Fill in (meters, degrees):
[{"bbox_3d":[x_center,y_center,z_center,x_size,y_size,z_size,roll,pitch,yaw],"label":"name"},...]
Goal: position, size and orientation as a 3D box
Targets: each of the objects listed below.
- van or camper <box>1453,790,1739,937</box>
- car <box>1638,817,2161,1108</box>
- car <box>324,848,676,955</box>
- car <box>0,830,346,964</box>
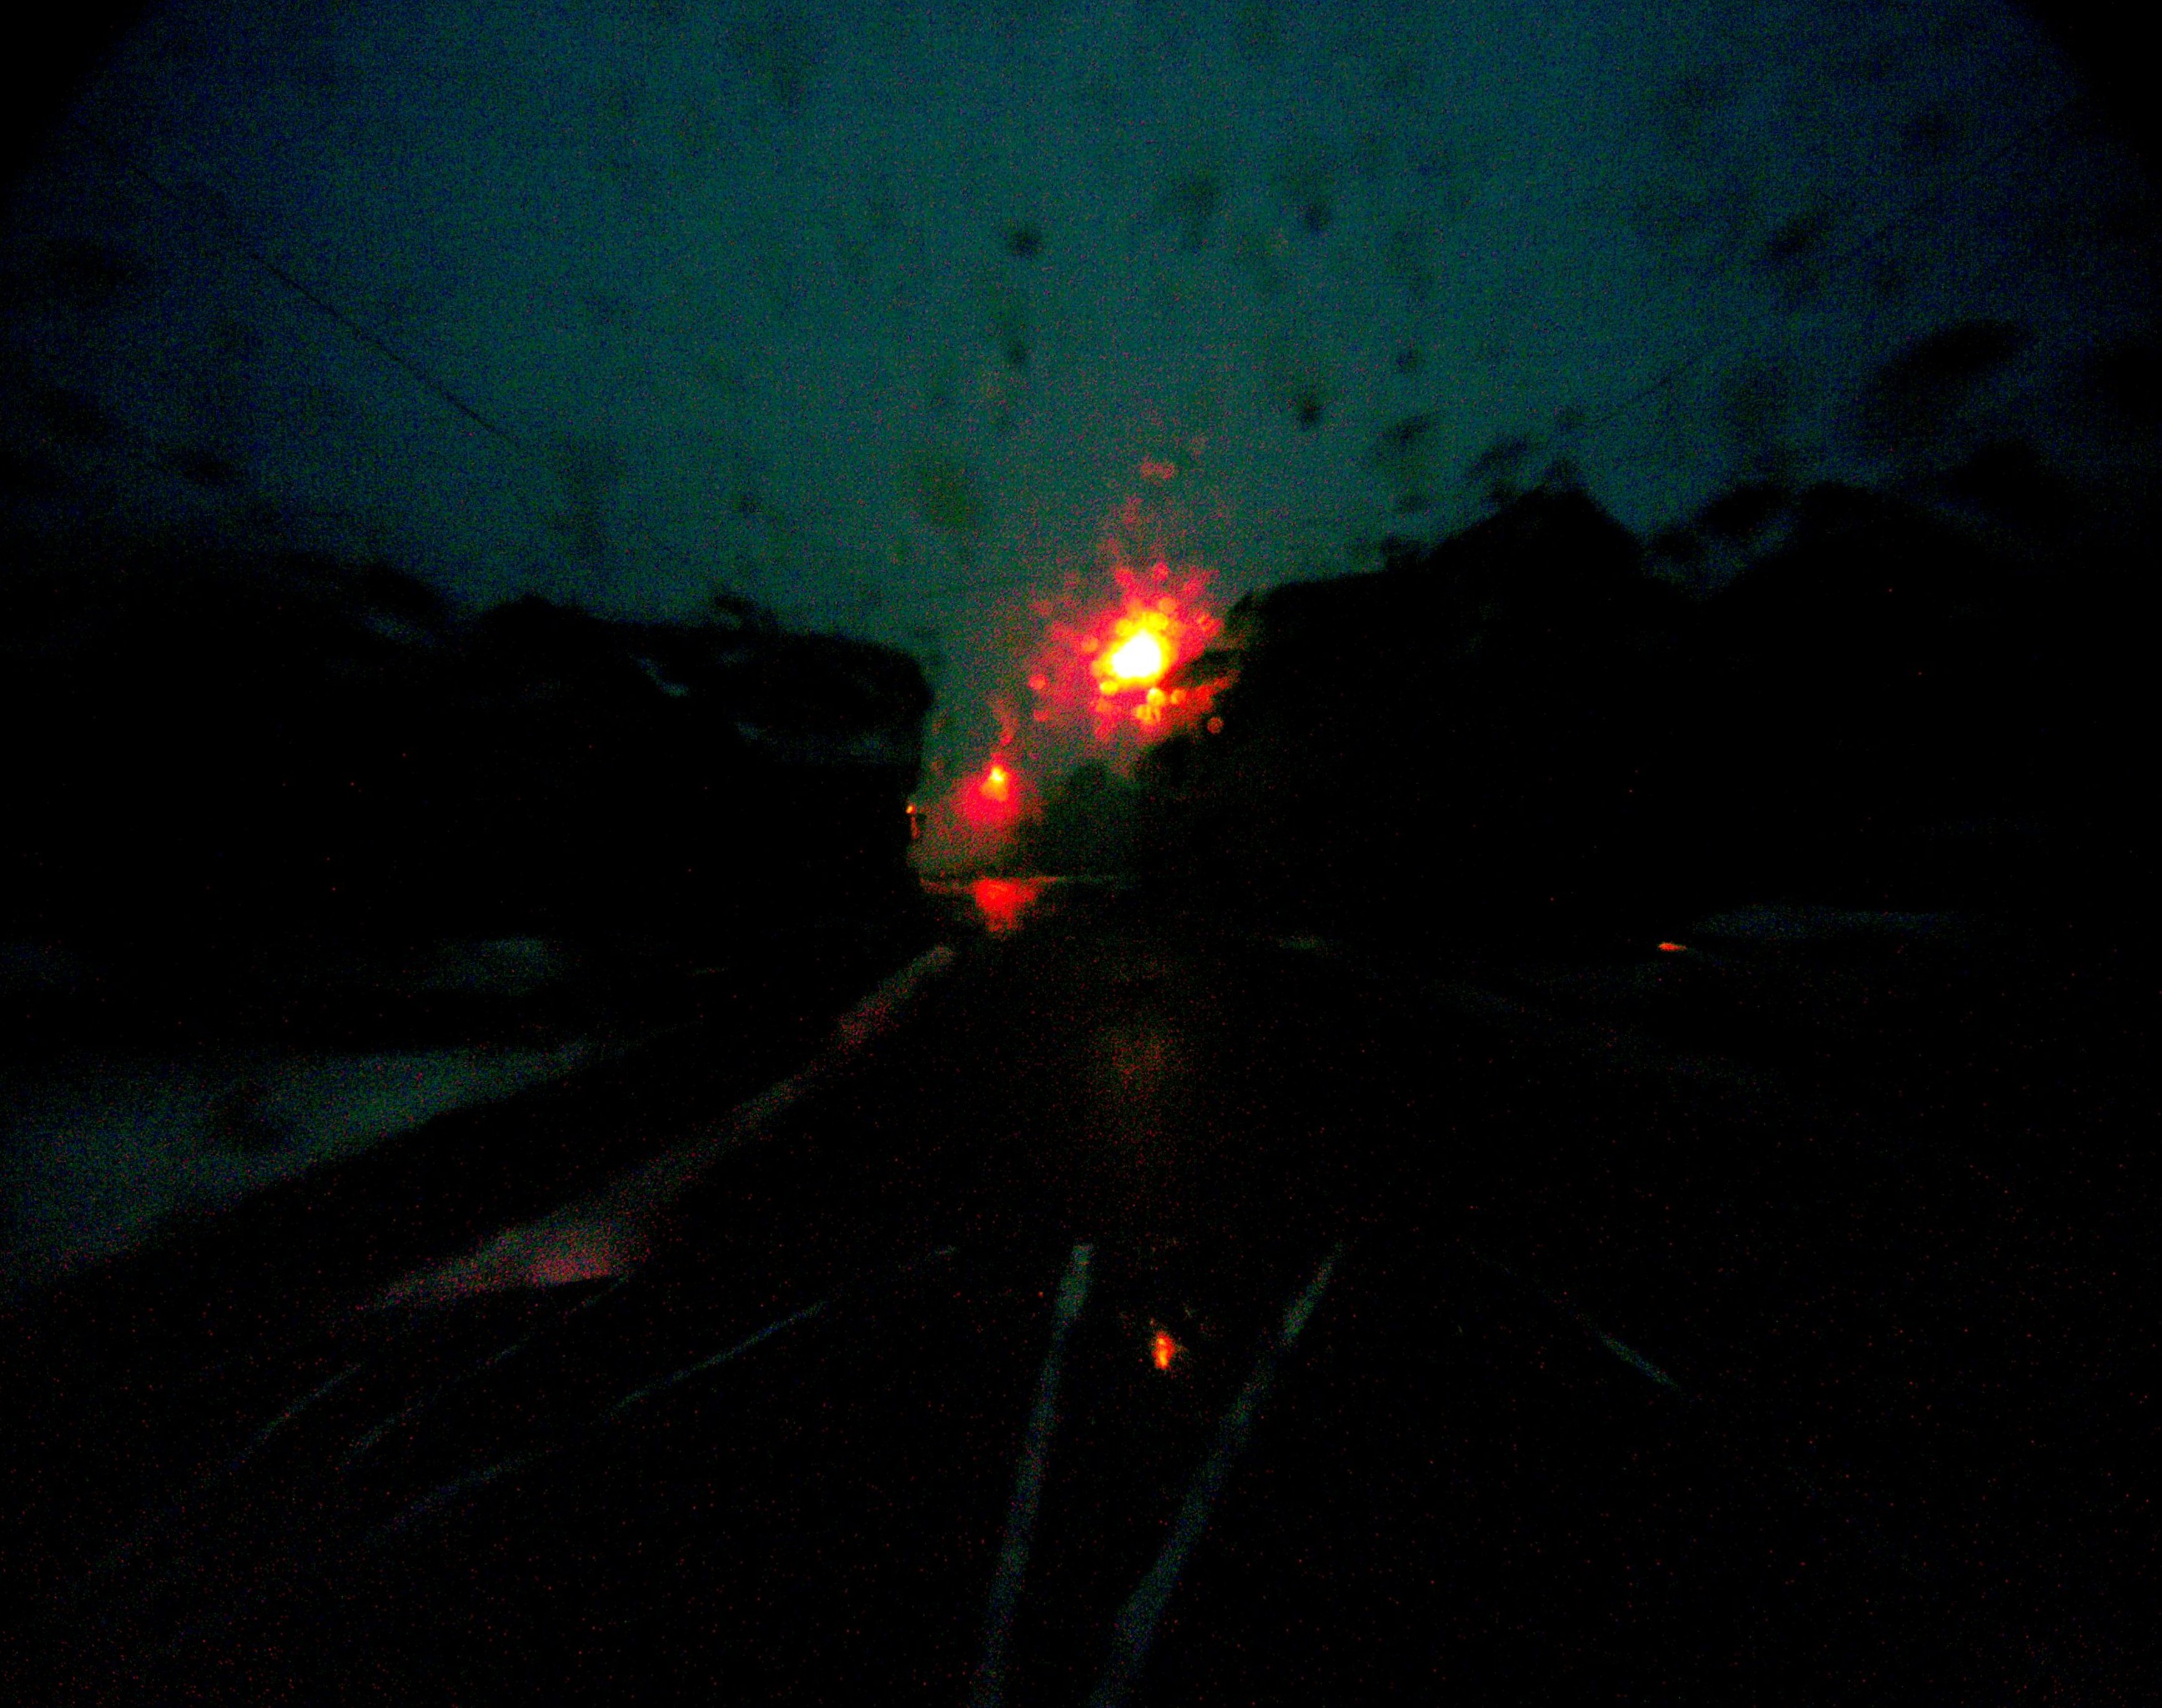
[{"bbox_3d":[9.963,0.179,14.665,5.312,2.434,2.141,0,0,-25],"label":"van or camper"},{"bbox_3d":[7.143,0.607,5.418,4.802,1.656,1.891,-3,0,4],"label":"car"},{"bbox_3d":[-9.949,0.740,13.442,4.462,1.578,1.998,-2,1,-10],"label":"car"},{"bbox_3d":[-15.386,0.654,12.437,4.386,1.915,1.998,-2,1,-10],"label":"car"}]
